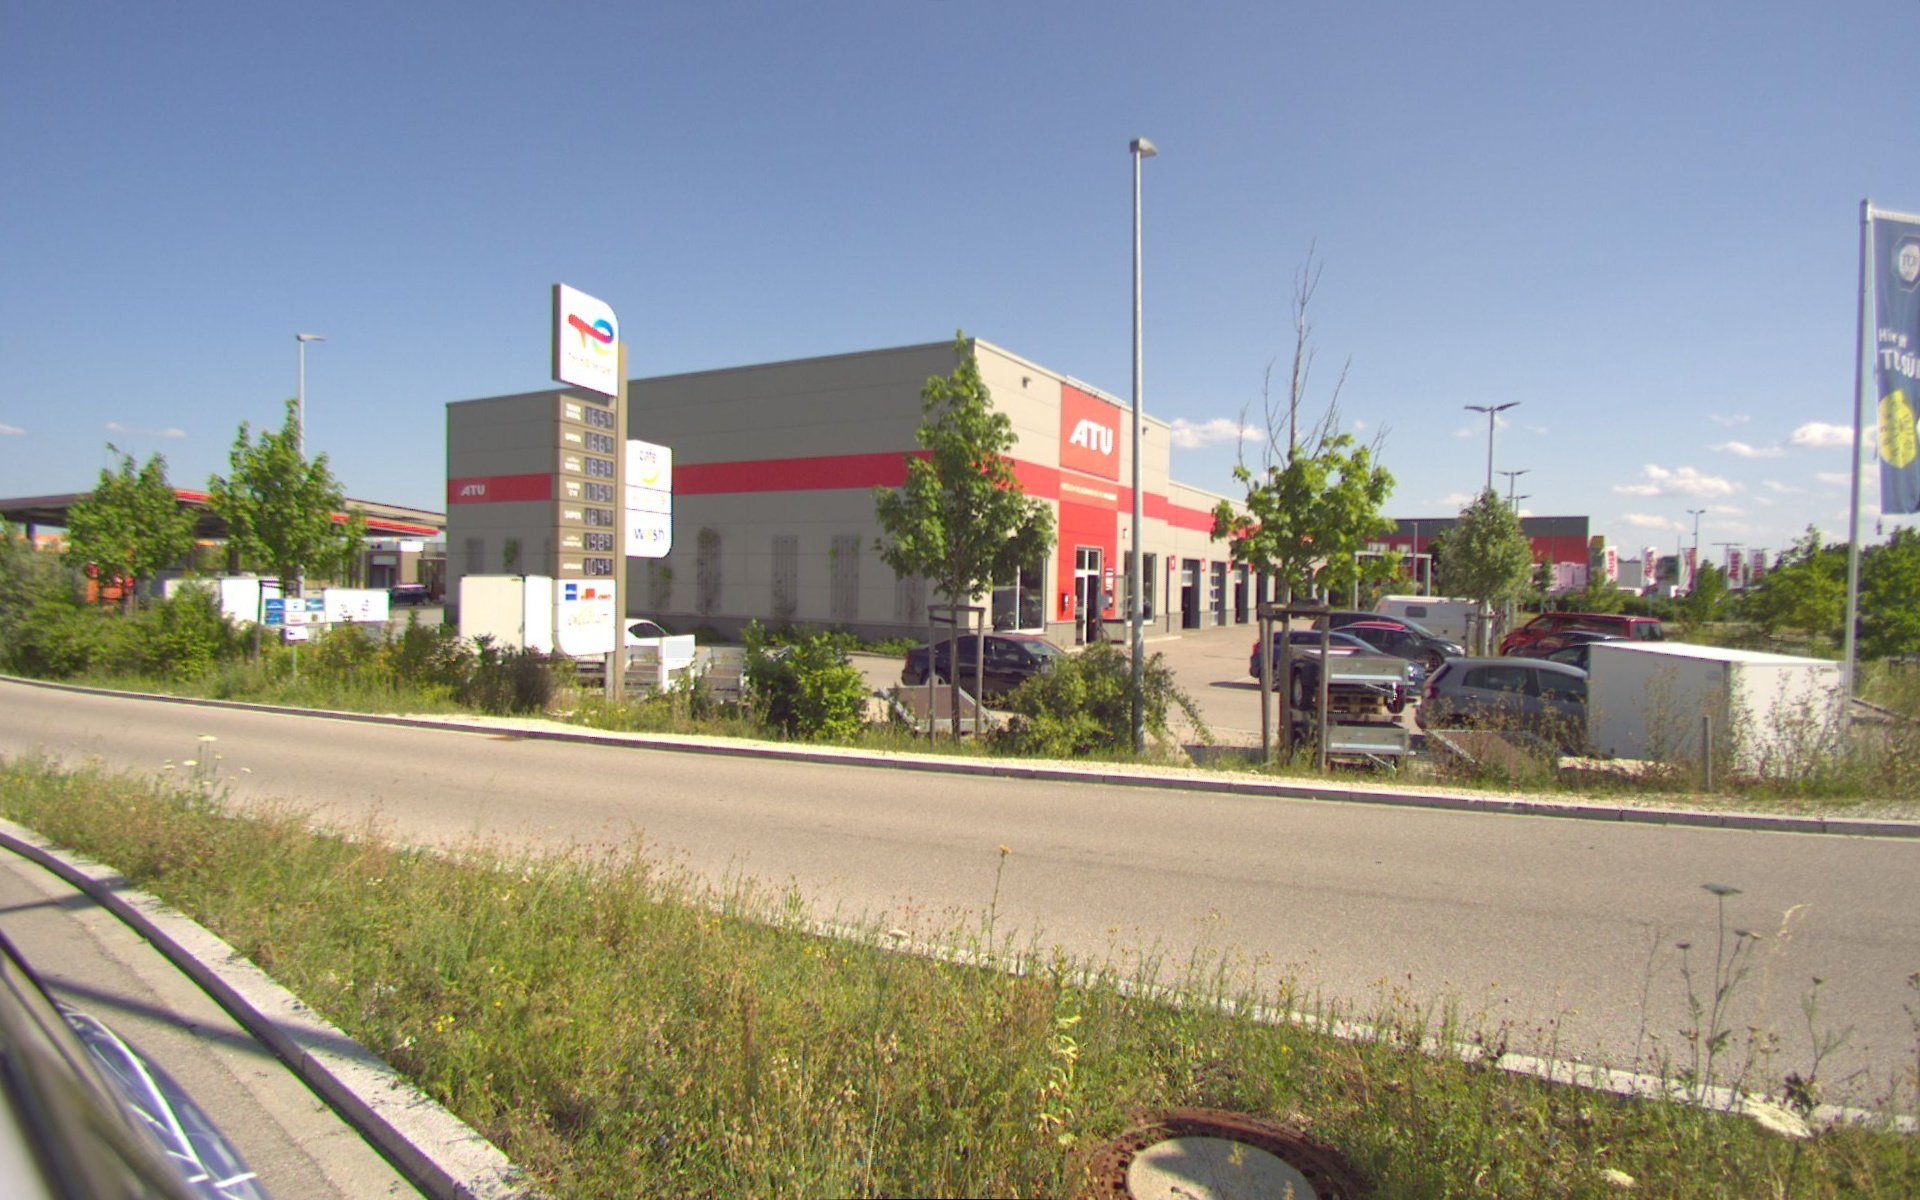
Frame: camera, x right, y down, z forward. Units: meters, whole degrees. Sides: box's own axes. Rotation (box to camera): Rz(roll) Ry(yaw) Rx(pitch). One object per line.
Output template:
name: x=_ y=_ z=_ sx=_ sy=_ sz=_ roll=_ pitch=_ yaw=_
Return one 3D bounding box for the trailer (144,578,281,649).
trailer: x=-22.572 y=0.356 z=30.723 sx=1.969 sy=2.029 sz=3.211 roll=0 pitch=1 yaw=-6

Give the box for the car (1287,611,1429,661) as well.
car: x=12.883 y=1.124 z=32.837 sx=3.990 sy=1.475 sz=1.804 roll=0 pitch=1 yaw=34

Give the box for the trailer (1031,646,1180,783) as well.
trailer: x=2.095 y=1.636 z=15.542 sx=1.684 sy=1.462 sz=3.698 roll=0 pitch=3 yaw=-1

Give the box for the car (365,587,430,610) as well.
car: x=-39.655 y=-0.103 z=71.358 sx=1.694 sy=1.586 sz=3.637 roll=0 pitch=1 yaw=39

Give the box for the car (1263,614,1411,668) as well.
car: x=11.618 y=1.215 z=31.259 sx=3.990 sy=1.475 sz=1.804 roll=0 pitch=1 yaw=34

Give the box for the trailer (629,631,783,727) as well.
trailer: x=-4.625 y=1.385 z=18.817 sx=1.533 sy=1.495 sz=3.179 roll=0 pitch=1 yaw=12

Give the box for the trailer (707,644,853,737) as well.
trailer: x=-3.107 y=1.534 z=17.921 sx=1.378 sy=1.332 sz=2.895 roll=0 pitch=1 yaw=17

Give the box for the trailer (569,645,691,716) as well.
trailer: x=-6.228 y=1.489 z=19.345 sx=1.303 sy=1.094 sz=2.773 roll=0 pitch=1 yaw=3

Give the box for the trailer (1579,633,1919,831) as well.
trailer: x=9.672 y=1.442 z=12.436 sx=1.782 sy=1.785 sz=3.698 roll=-1 pitch=2 yaw=-1

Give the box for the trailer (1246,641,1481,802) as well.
trailer: x=5.508 y=1.572 z=14.347 sx=1.782 sy=1.785 sz=3.697 roll=0 pitch=1 yaw=-1

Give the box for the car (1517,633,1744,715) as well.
car: x=15.463 y=1.641 z=23.588 sx=1.794 sy=1.475 sz=4.014 roll=2 pitch=1 yaw=-25

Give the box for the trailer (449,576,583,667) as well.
trailer: x=-10.605 y=0.469 z=24.395 sx=1.724 sy=2.029 sz=3.238 roll=0 pitch=1 yaw=2

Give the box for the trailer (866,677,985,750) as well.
trailer: x=-0.514 y=1.871 z=17.121 sx=1.841 sy=0.888 sz=2.837 roll=0 pitch=1 yaw=1

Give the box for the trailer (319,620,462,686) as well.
trailer: x=-15.265 y=1.371 z=27.344 sx=1.580 sy=1.521 sz=3.594 roll=-1 pitch=1 yaw=6

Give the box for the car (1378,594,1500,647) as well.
car: x=19.297 y=0.786 z=40.816 sx=4.332 sy=2.029 sz=1.884 roll=0 pitch=1 yaw=30

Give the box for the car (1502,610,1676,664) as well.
car: x=19.944 y=1.112 z=32.322 sx=1.794 sy=1.475 sz=4.470 roll=-1 pitch=1 yaw=-25

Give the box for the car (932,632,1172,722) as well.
car: x=1.766 y=1.453 z=20.183 sx=4.486 sy=1.495 sz=1.783 roll=0 pitch=0 yaw=34

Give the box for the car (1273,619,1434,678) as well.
car: x=11.152 y=1.317 z=28.744 sx=3.990 sy=1.475 sz=1.804 roll=0 pitch=1 yaw=34

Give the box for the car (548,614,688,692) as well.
car: x=-7.872 y=1.171 z=23.666 sx=1.697 sy=1.548 sz=3.995 roll=0 pitch=1 yaw=4

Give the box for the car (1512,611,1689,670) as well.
car: x=18.455 y=1.118 z=29.361 sx=1.794 sy=1.475 sz=4.013 roll=-1 pitch=1 yaw=-25

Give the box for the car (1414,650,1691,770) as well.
car: x=9.555 y=1.700 z=16.545 sx=3.731 sy=1.563 sz=1.725 roll=0 pitch=1 yaw=32

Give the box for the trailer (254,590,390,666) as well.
trailer: x=-17.817 y=0.739 z=28.408 sx=1.976 sy=2.029 sz=2.732 roll=0 pitch=1 yaw=6

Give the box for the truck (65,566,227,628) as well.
truck: x=-46.460 y=-0.223 z=58.025 sx=2.624 sy=3.343 sz=6.854 roll=0 pitch=1 yaw=22

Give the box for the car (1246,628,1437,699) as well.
car: x=8.930 y=1.427 z=23.711 sx=3.983 sy=1.475 sz=1.807 roll=0 pitch=-2 yaw=29
